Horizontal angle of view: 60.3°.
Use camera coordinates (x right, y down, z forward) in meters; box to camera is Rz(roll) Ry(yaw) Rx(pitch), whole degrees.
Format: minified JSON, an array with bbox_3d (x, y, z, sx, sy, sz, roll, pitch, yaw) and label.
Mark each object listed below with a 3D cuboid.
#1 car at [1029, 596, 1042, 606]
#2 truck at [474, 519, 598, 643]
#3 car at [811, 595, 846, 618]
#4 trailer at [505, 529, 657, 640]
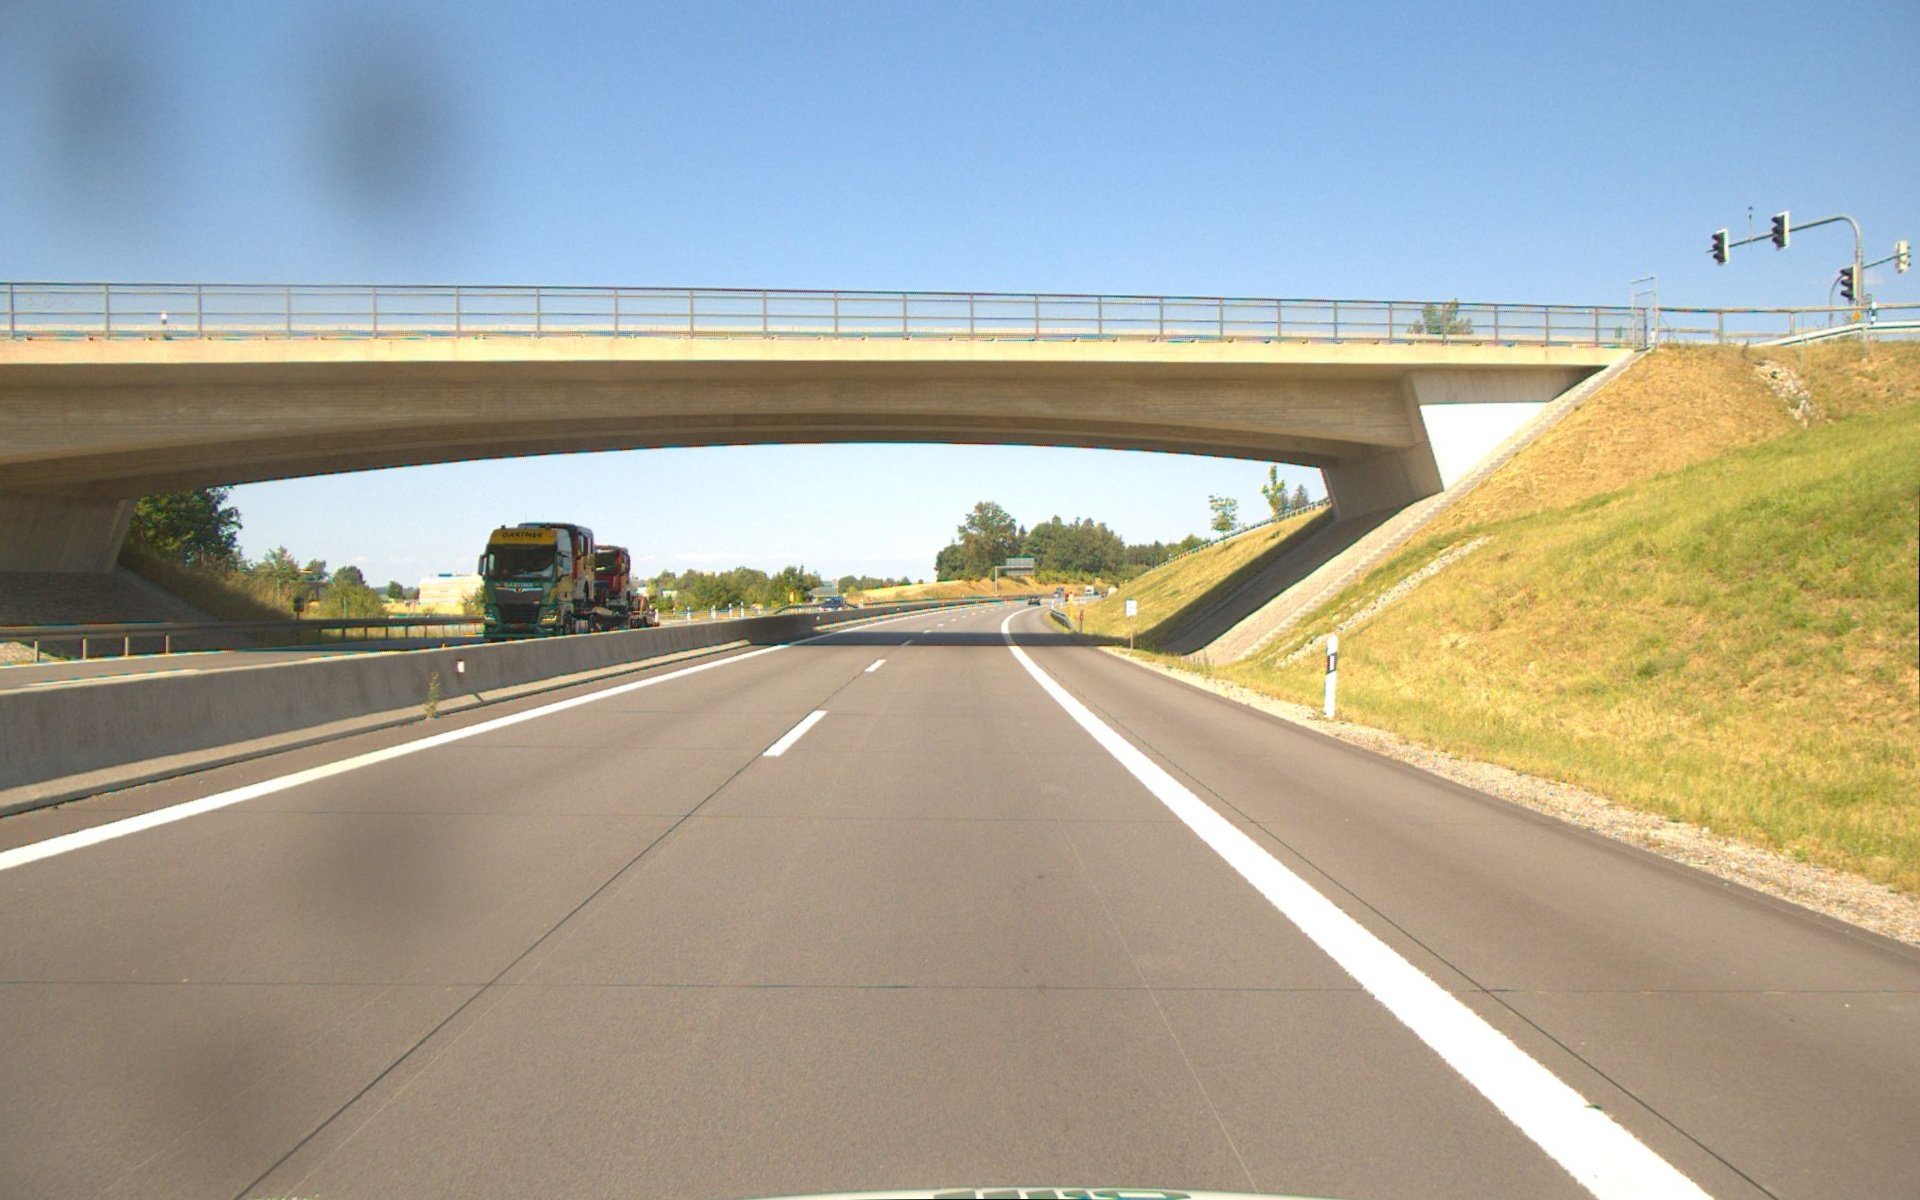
[{"bbox_3d":[11.302,0.140,247.163,1.952,1.445,4.001,-2,0,2],"label":"car"},{"bbox_3d":[-14.001,-0.599,55.027,2.679,3.899,5.830,0,0,-1],"label":"truck"},{"bbox_3d":[-9.263,0.452,116.844,2.027,1.602,4.927,0,0,0],"label":"car"},{"bbox_3d":[-14.010,-0.540,62.479,2.610,3.721,13.237,0,0,1],"label":"trailer"}]
